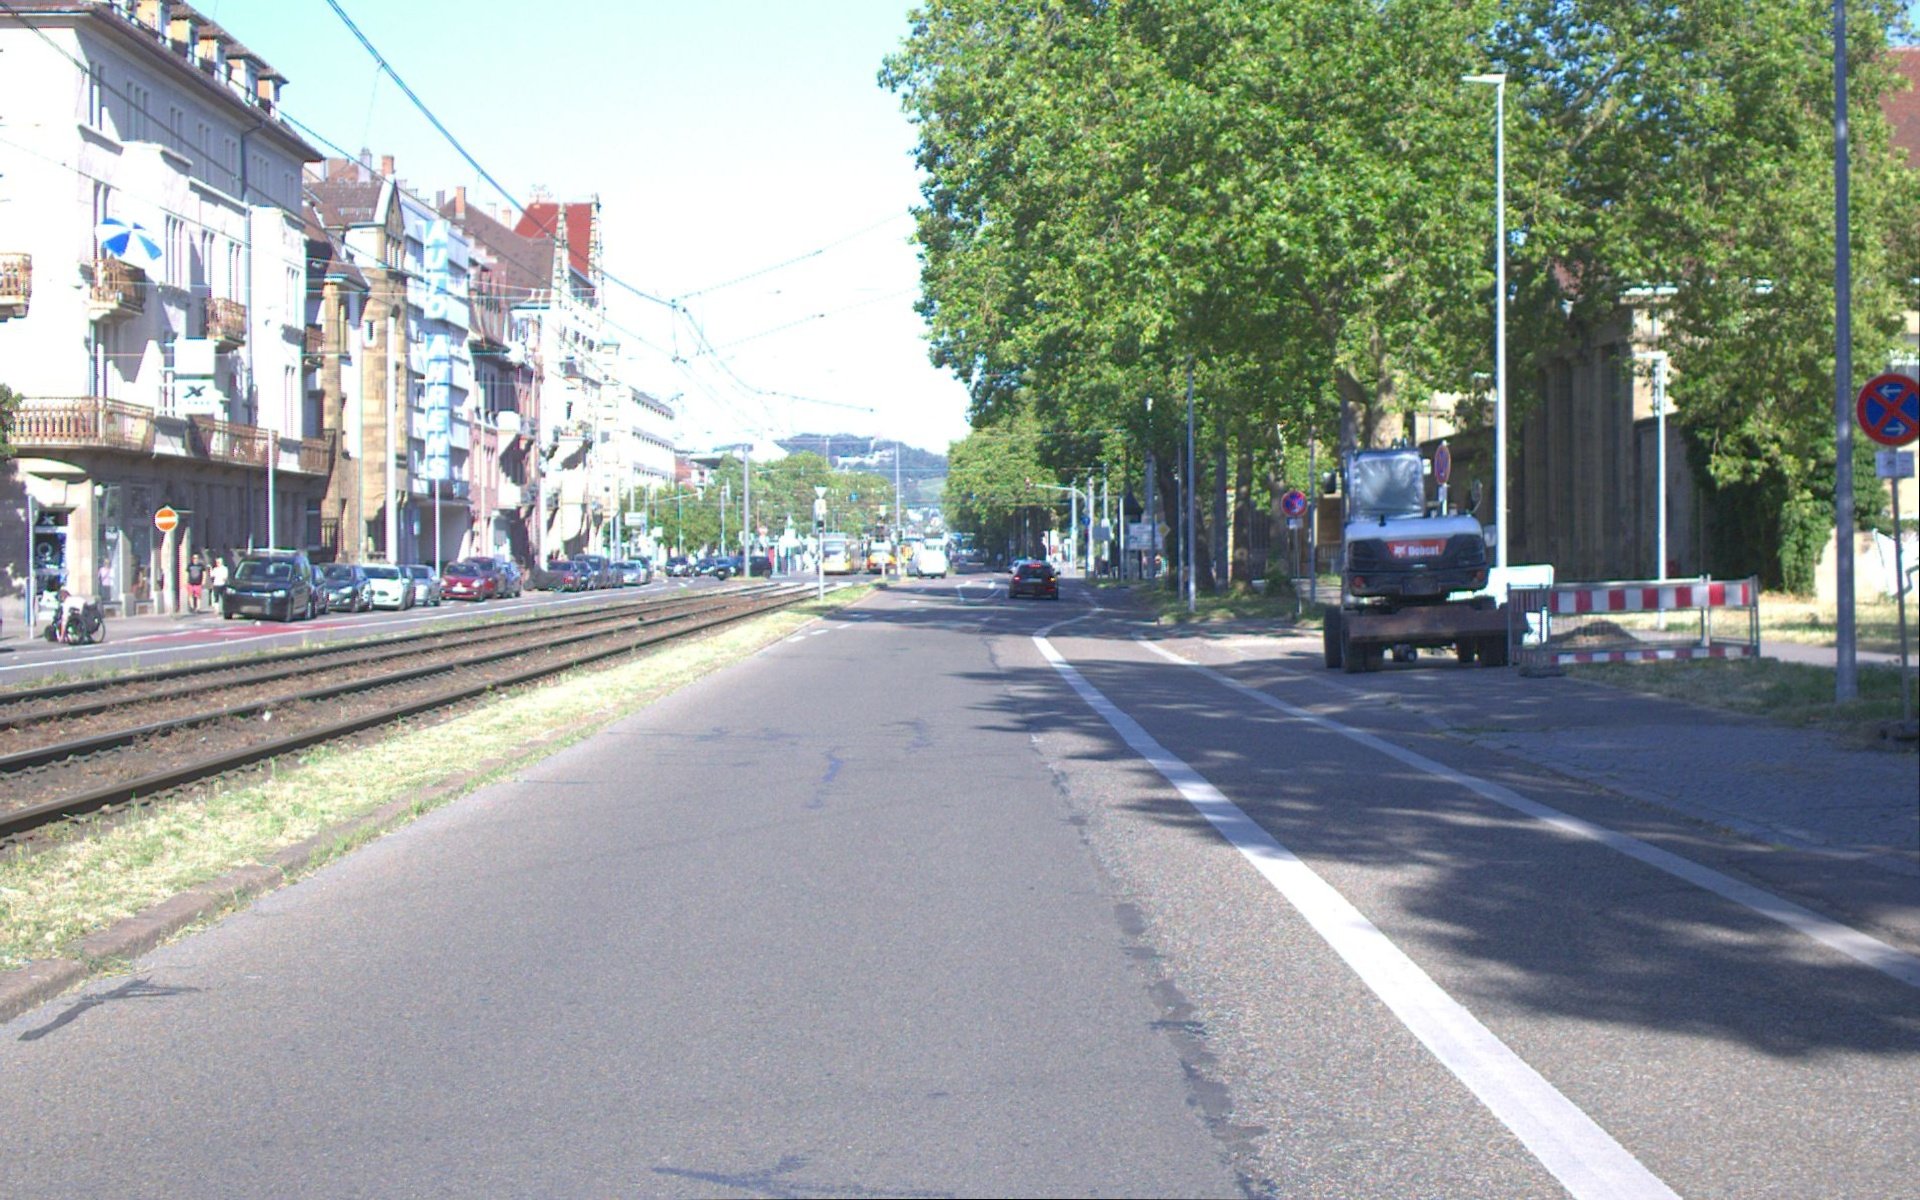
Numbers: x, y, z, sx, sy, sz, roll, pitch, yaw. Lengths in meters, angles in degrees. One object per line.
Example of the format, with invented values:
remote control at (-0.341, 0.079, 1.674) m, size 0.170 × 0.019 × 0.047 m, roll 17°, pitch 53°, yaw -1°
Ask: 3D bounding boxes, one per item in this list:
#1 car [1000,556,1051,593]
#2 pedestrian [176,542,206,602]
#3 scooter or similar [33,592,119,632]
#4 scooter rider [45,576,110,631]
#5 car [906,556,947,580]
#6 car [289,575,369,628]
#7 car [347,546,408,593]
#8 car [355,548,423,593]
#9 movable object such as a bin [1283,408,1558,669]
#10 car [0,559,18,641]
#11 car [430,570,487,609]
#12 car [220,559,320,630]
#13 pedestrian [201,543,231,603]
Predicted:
car at (2.494, -0.993, 132.567) m, size 1.833 × 1.386 × 4.159 m, roll 0°, pitch 1°, yaw -1°
pedestrian at (-21.898, -0.792, 97.936) m, size 0.589 × 1.691 × 0.857 m, roll 2°, pitch 0°, yaw 2°
scooter or similar at (-17.773, 0.241, 69.138) m, size 1.567 × 0.768 × 0.807 m, roll 0°, pitch 1°, yaw 31°
scooter rider at (-17.739, 0.073, 69.117) m, size 0.977 × 1.085 × 0.807 m, roll 0°, pitch 1°, yaw 31°
car at (-2.259, -2.132, 229.667) m, size 1.793 × 1.505 × 4.001 m, roll 2°, pitch 0°, yaw -14°
car at (-19.120, 0.016, 104.223) m, size 1.635 × 1.464 × 4.159 m, roll 3°, pitch 1°, yaw -1°
car at (-18.634, -0.978, 110.053) m, size 1.635 × 1.464 × 3.984 m, roll 0°, pitch 0°, yaw -6°
car at (-19.751, -1.040, 119.113) m, size 1.635 × 1.464 × 4.159 m, roll 1°, pitch 1°, yaw 0°
movable object such as a bin at (6.158, -0.847, 47.038) m, size 2.744 × 3.135 × 7.219 m, roll -3°, pitch 1°, yaw 1°
car at (-18.475, -0.016, 61.939) m, size 1.794 × 1.505 × 4.000 m, roll 2°, pitch 0°, yaw 1°
car at (-19.098, -0.416, 131.088) m, size 1.833 × 1.386 × 4.036 m, roll 3°, pitch 0°, yaw -5°
car at (-18.715, -0.166, 93.358) m, size 1.862 × 1.780 × 4.402 m, roll 2°, pitch 1°, yaw -1°
pedestrian at (-21.192, -0.771, 97.902) m, size 0.589 × 1.691 × 0.857 m, roll 2°, pitch 0°, yaw 2°
